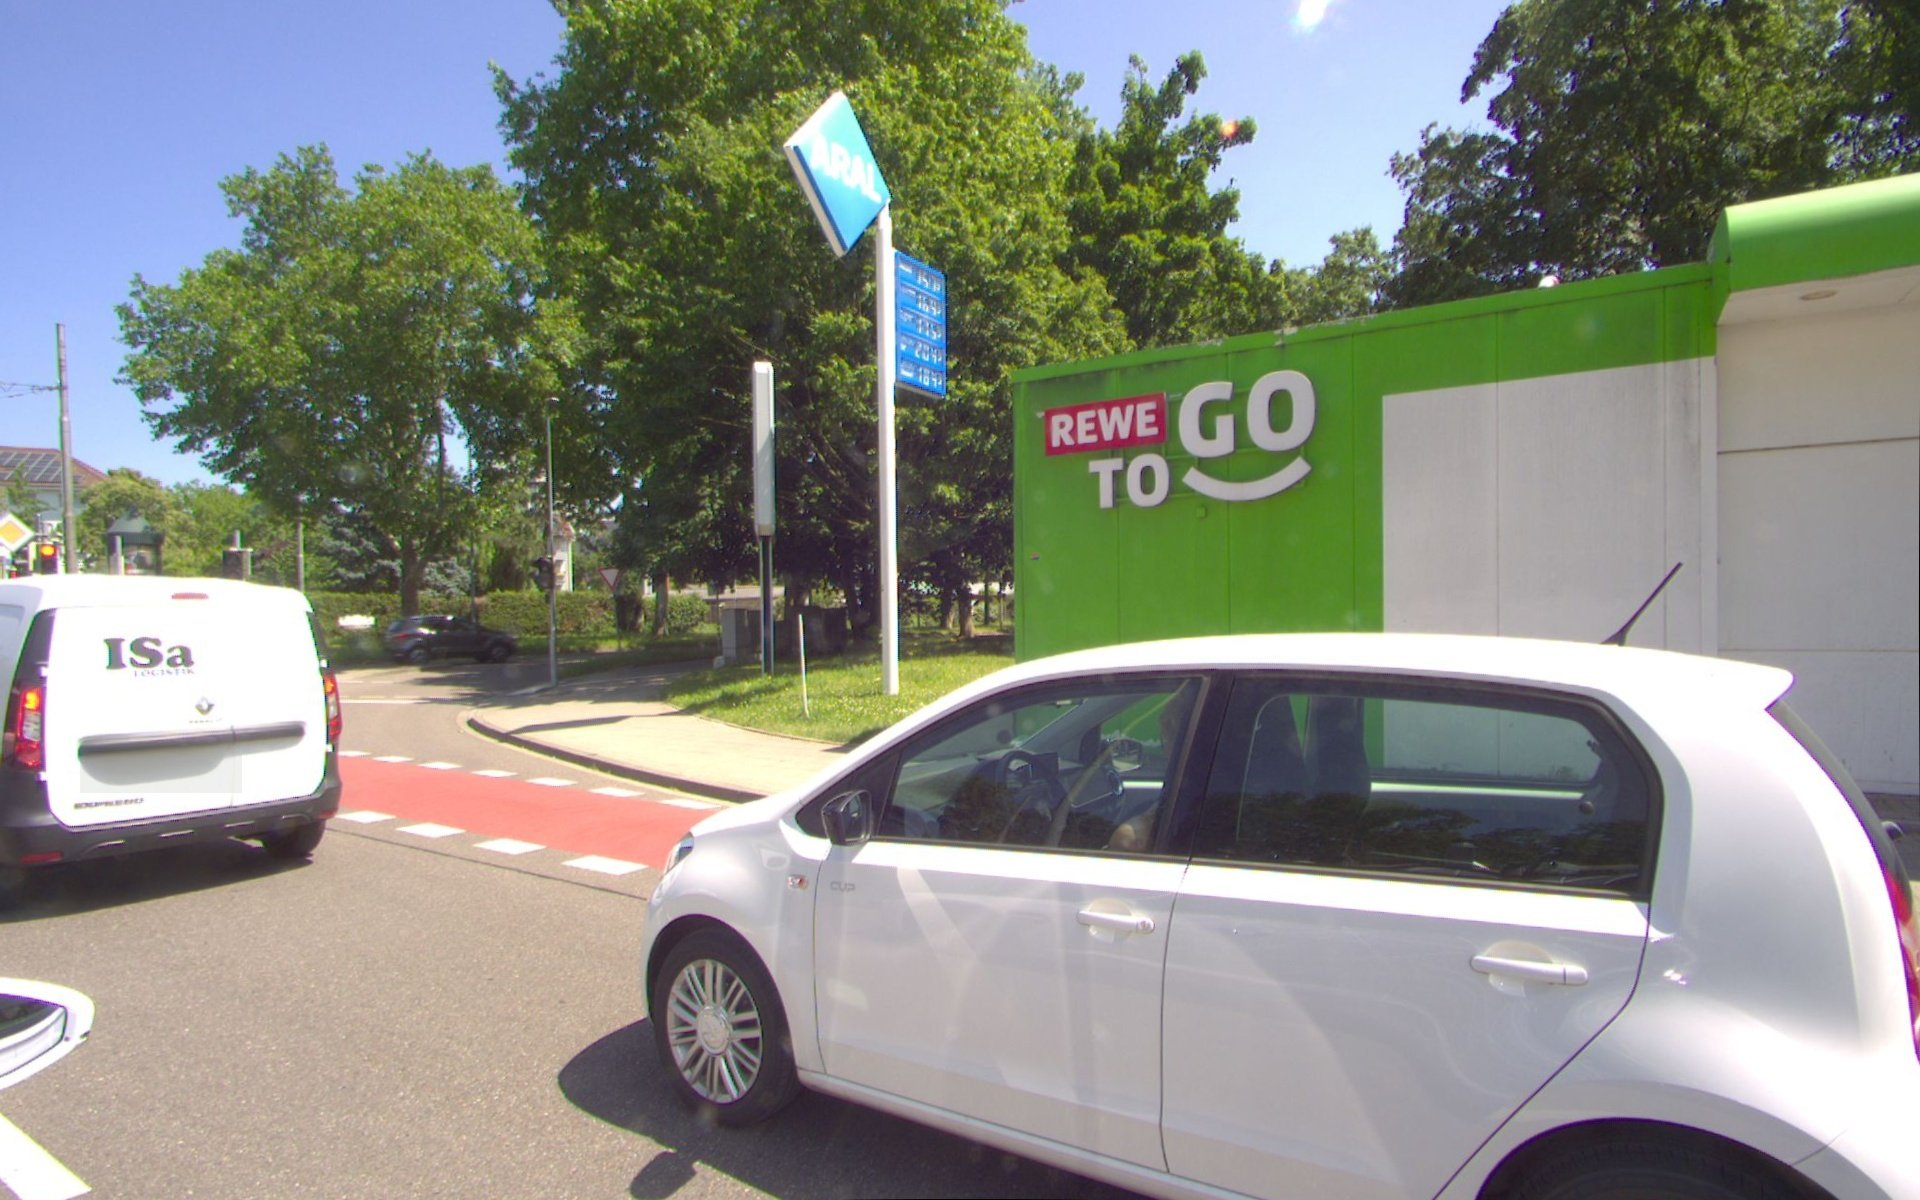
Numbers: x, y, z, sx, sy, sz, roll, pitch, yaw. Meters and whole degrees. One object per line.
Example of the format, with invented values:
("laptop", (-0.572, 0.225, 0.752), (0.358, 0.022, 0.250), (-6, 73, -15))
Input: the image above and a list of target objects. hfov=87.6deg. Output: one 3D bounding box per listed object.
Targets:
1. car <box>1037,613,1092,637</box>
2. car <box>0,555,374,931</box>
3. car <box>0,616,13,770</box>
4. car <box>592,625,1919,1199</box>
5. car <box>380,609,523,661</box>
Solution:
("car", (7.144, 1.716, 68.475), (1.681, 1.617, 3.965), (0, -1, 44))
("car", (-5.851, 0.746, 6.626), (4.005, 1.811, 1.725), (-1, -2, 31))
("car", (-11.945, 0.941, 10.626), (3.943, 1.589, 1.832), (0, -1, 32))
("car", (0.666, 0.827, 2.987), (3.387, 1.466, 1.606), (0, -1, 33))
("car", (-16.912, 1.160, 33.426), (3.963, 1.617, 1.682), (2, -1, -45))
